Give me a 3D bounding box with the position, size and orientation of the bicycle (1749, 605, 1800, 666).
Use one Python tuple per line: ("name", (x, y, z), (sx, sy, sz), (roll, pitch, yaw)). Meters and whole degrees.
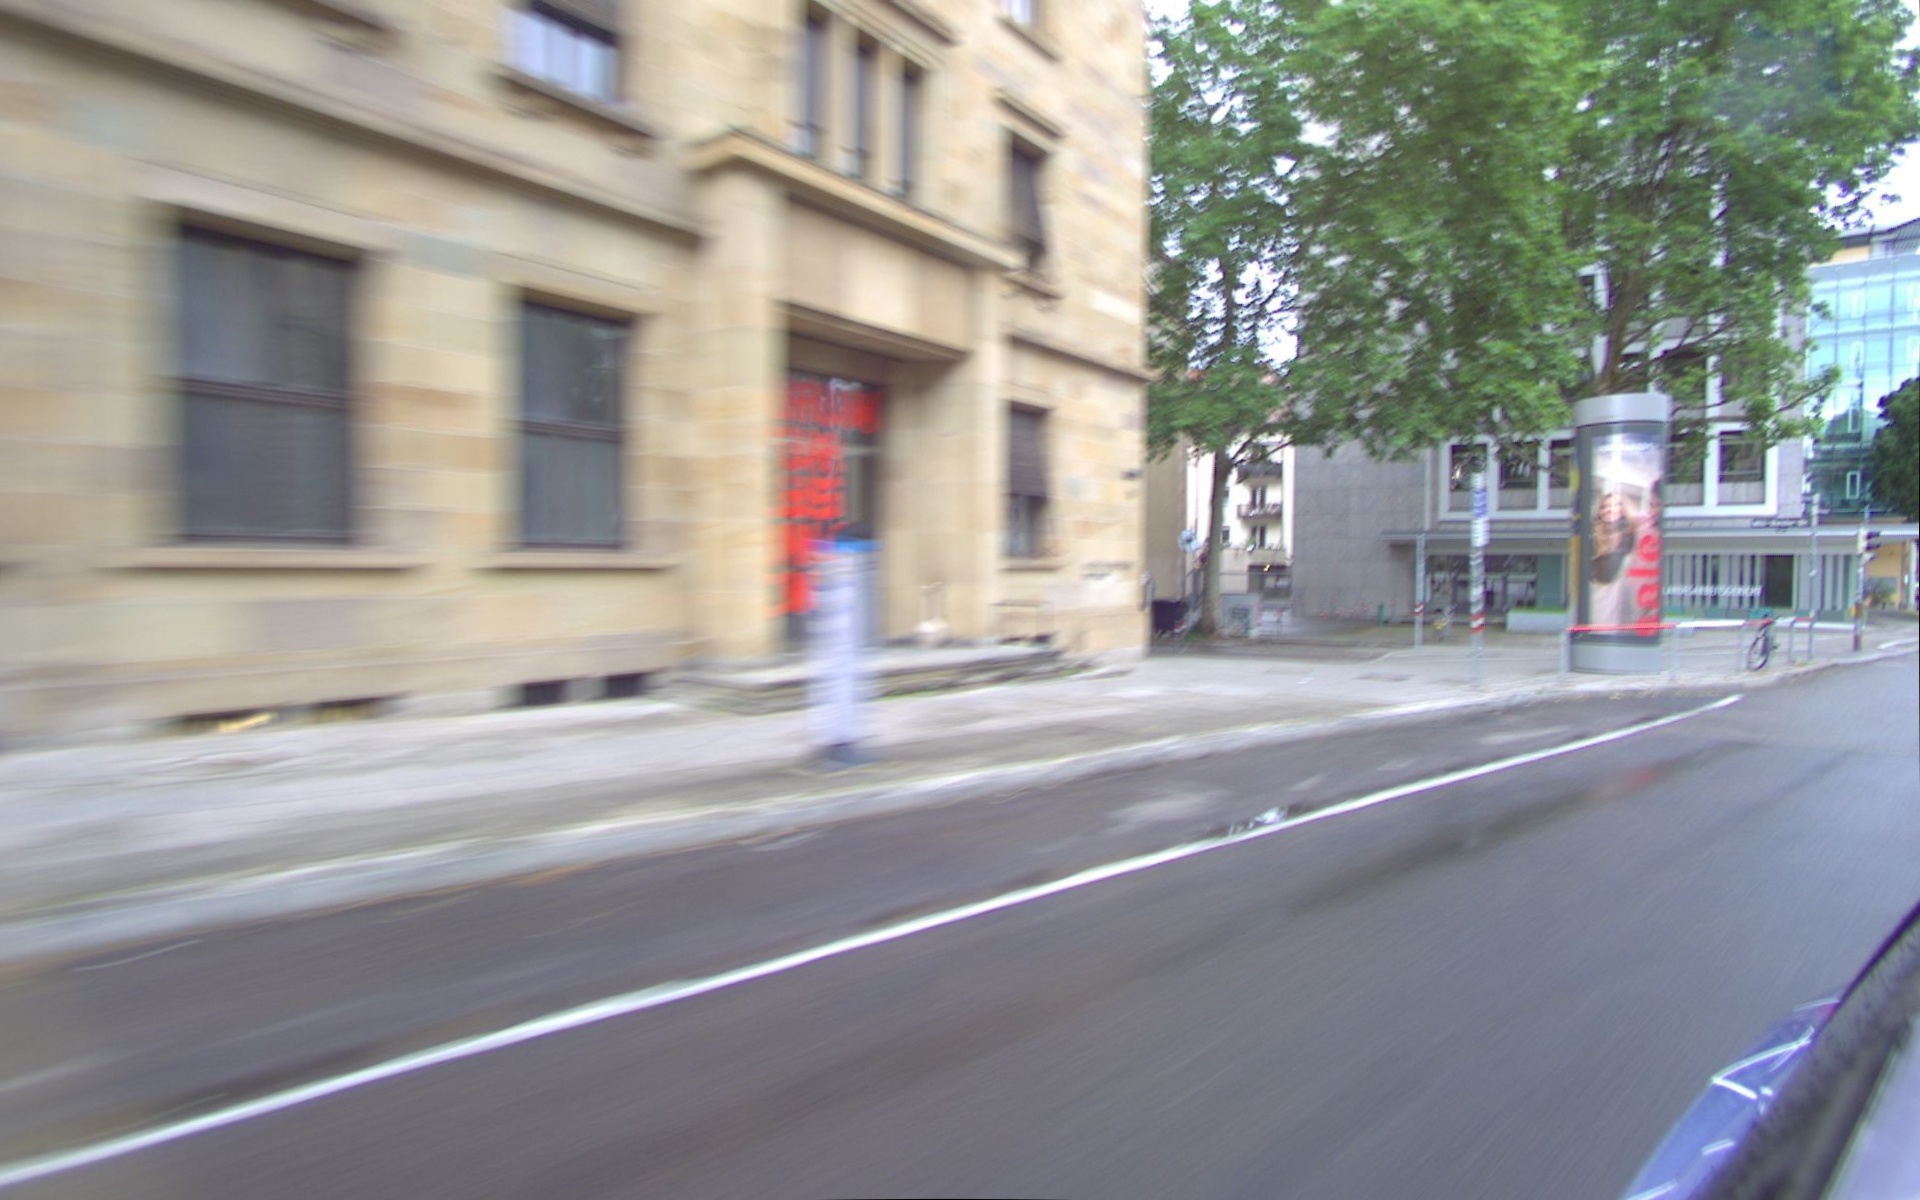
("bicycle", (14.907, 0.619, 18.504), (1.896, 1.025, 0.489), (-1, 1, -44))
